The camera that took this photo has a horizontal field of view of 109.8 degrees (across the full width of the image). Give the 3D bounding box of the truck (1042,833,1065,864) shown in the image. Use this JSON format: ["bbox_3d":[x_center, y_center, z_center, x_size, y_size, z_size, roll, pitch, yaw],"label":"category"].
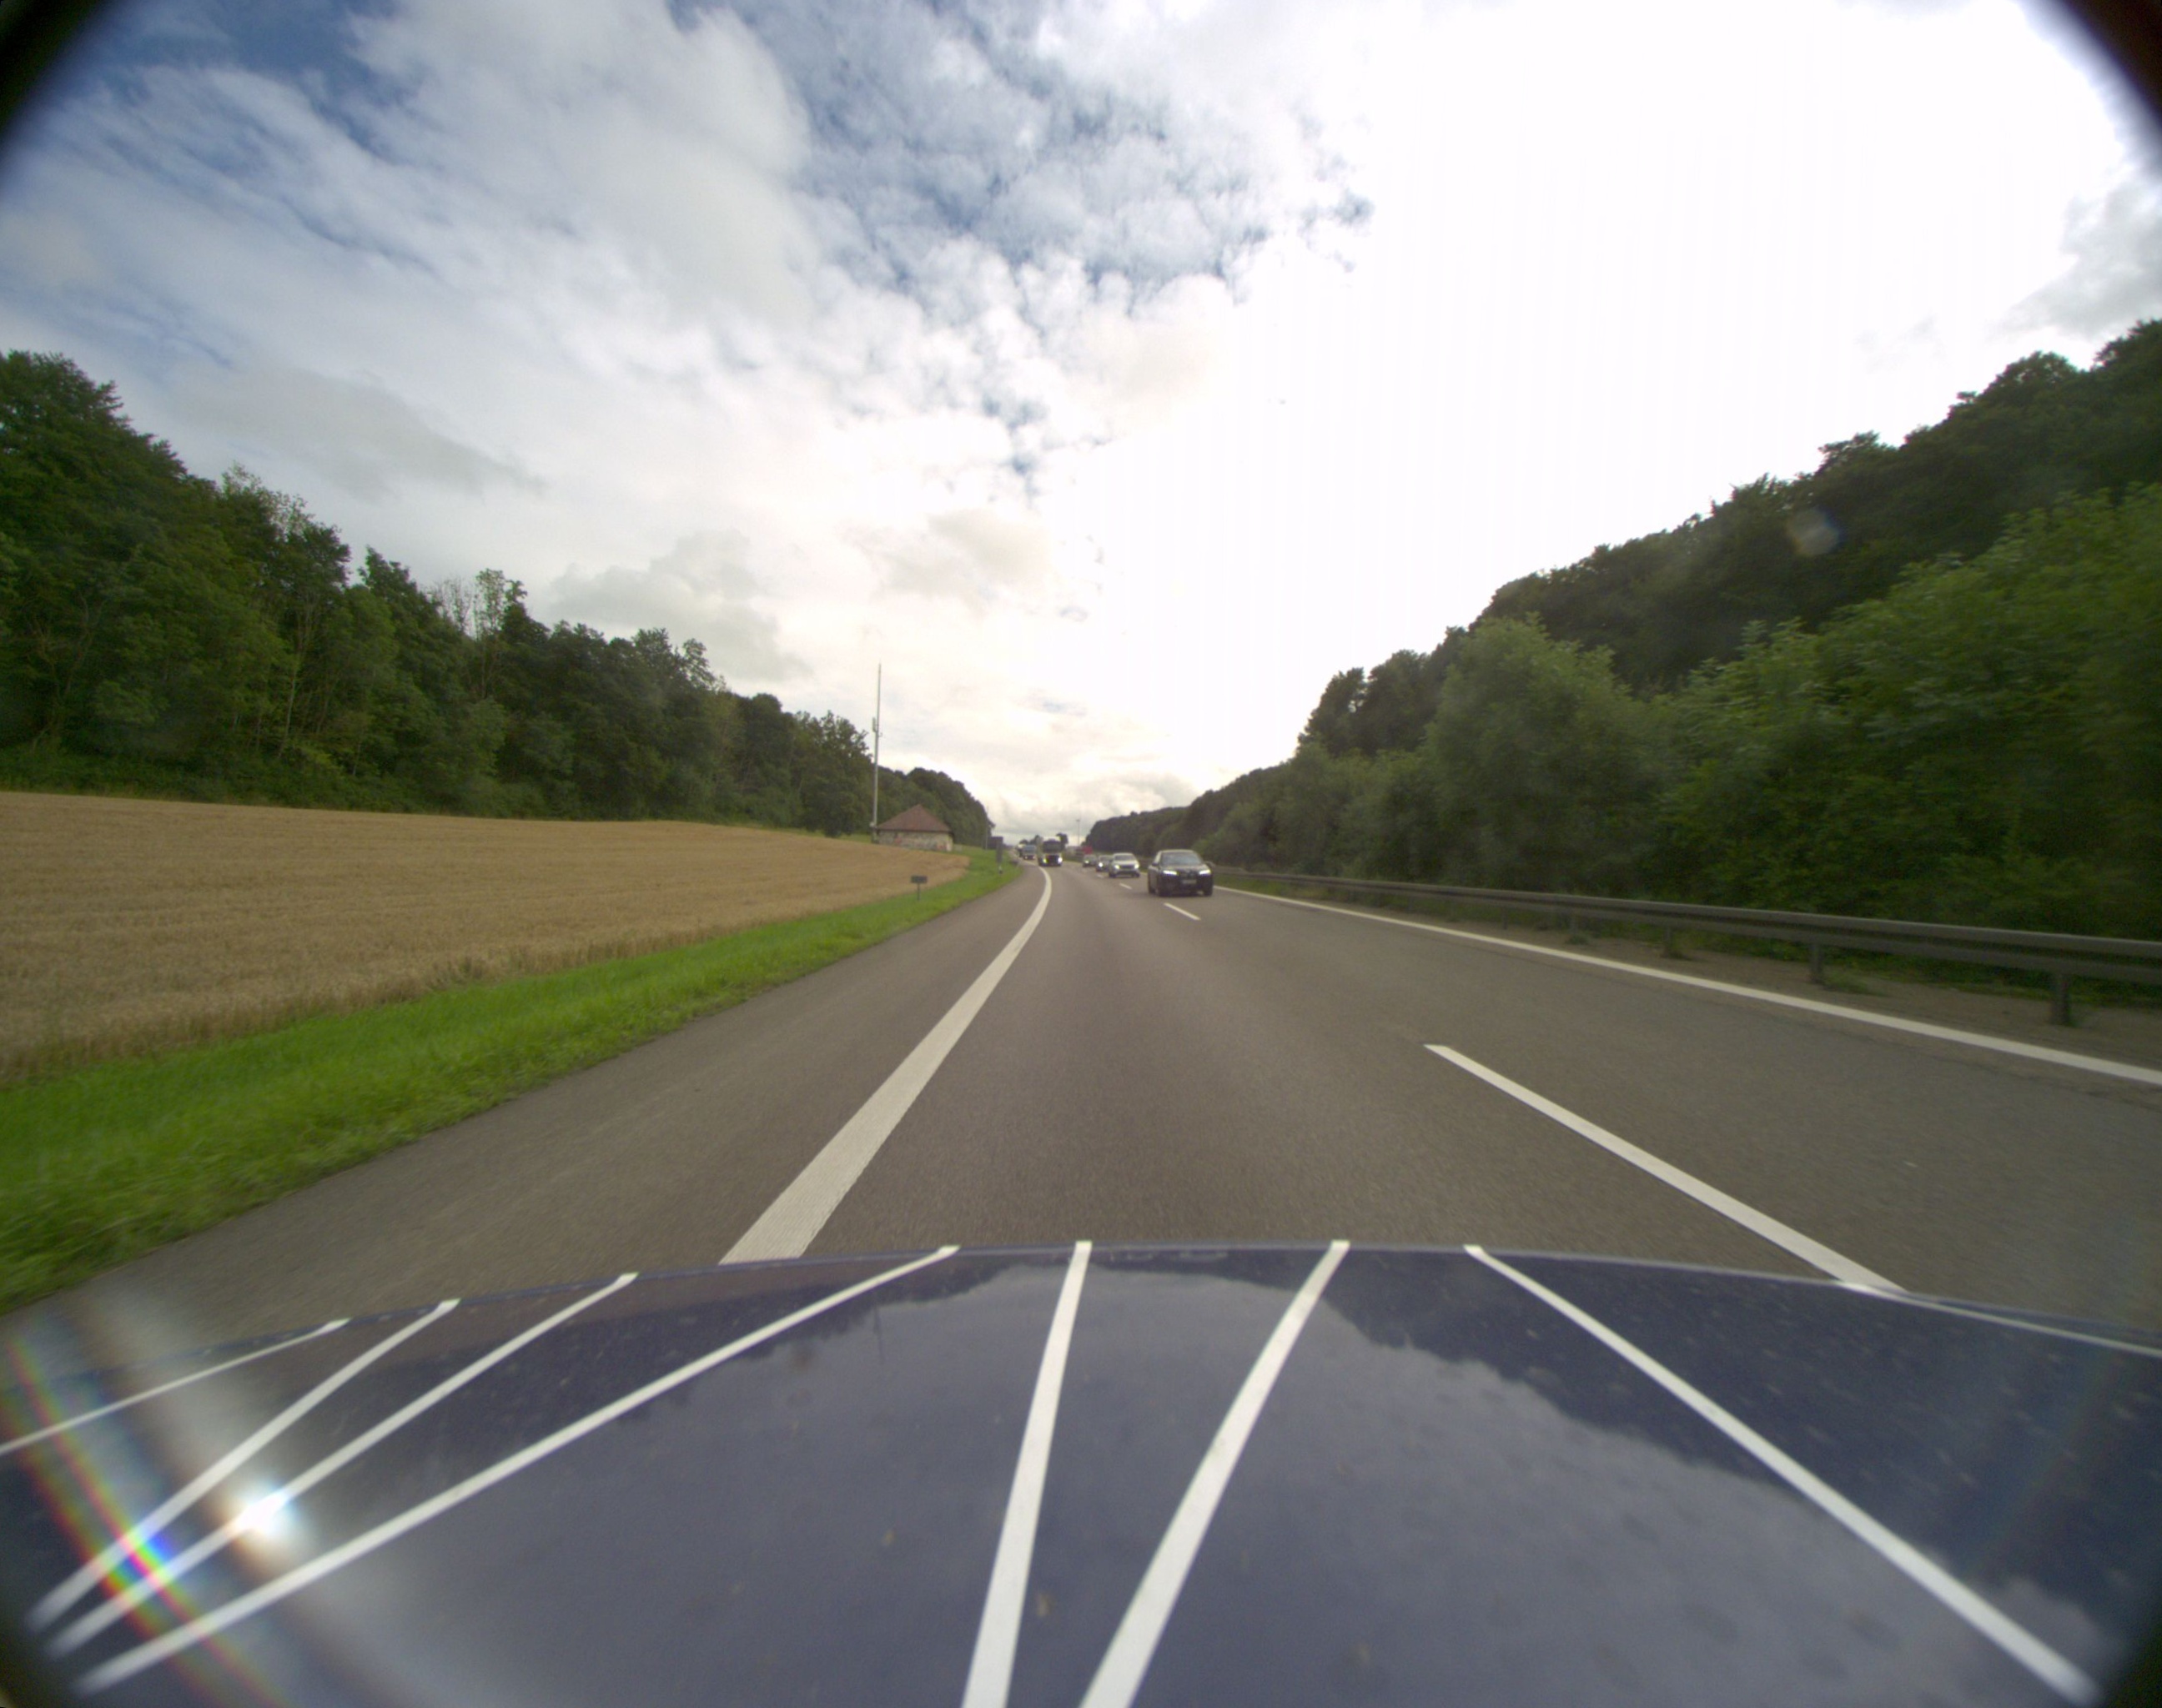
[{"bbox_3d":[-3.694,-0.704,101.450,2.796,3.948,5.938,-1,0,-2],"label":"truck"}]

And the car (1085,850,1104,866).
[{"bbox_3d":[1.526,0.446,88.616,1.999,1.656,4.413,-1,1,-2],"label":"car"}]

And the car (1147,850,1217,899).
[{"bbox_3d":[3.731,0.711,28.831,1.999,1.656,4.414,-1,0,-1],"label":"car"}]

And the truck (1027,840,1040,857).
[{"bbox_3d":[-11.148,-1.284,178.511,2.796,3.948,5.938,-1,0,-2],"label":"truck"}]

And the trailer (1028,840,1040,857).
[{"bbox_3d":[-11.433,-1.329,185.345,2.787,3.932,11.293,-2,0,-2],"label":"trailer"}]

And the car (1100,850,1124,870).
[{"bbox_3d":[2.787,0.514,69.237,1.999,1.656,4.414,-1,0,-1],"label":"car"}]

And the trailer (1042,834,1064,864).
[{"bbox_3d":[-3.892,-0.730,106.344,2.787,3.932,11.293,-2,0,-2],"label":"trailer"}]

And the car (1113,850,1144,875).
[{"bbox_3d":[3.231,0.555,52.715,1.998,1.656,4.415,-1,0,2],"label":"car"}]
